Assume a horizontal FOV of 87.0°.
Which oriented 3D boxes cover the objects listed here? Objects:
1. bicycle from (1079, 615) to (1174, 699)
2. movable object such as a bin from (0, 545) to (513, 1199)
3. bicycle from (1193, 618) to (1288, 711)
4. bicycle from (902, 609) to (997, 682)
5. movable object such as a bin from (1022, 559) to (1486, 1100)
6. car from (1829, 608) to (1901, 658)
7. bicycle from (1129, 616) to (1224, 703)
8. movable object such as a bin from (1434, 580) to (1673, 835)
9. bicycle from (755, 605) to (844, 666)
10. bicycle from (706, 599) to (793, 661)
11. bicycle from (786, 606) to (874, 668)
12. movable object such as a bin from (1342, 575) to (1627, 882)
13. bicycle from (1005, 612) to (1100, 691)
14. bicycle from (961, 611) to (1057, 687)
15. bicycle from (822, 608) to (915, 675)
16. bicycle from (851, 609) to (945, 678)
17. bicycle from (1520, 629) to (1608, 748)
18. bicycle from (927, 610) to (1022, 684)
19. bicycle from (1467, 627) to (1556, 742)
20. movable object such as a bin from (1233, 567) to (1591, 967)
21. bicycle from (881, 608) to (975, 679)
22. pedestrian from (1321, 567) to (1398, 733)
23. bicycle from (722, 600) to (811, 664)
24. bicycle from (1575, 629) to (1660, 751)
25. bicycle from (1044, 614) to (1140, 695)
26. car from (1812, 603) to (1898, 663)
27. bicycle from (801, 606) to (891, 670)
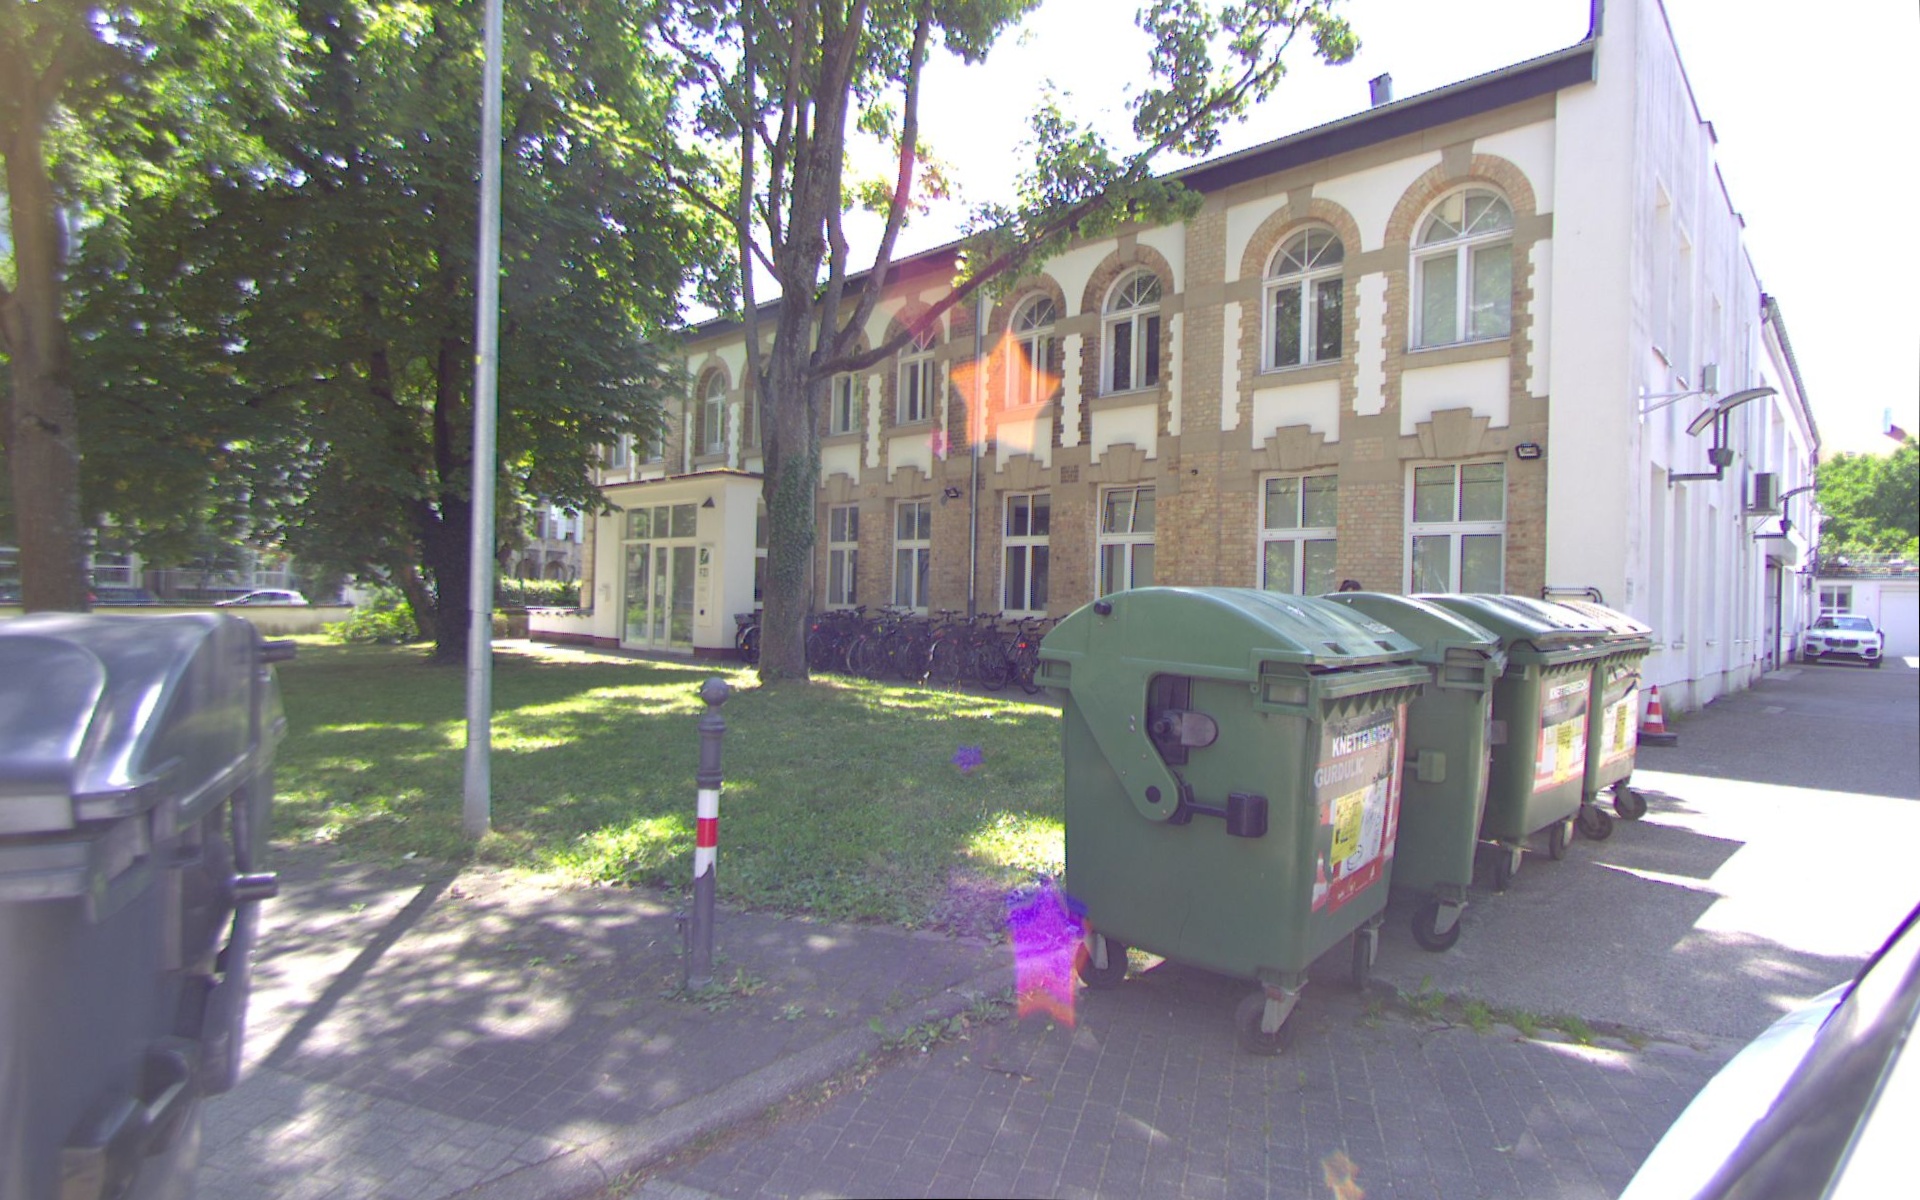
[{"bbox_3d":[2.411,0.779,14.509,0.405,1.115,1.797,1,0,43],"label":"bicycle"},{"bbox_3d":[-1.489,0.670,1.315,1.076,1.476,1.355,1,0,45],"label":"movable object such as a bin"},{"bbox_3d":[3.716,0.815,13.330,0.405,1.115,1.797,1,0,43],"label":"bicycle"},{"bbox_3d":[-0.141,0.712,16.502,0.405,1.115,1.797,1,0,43],"label":"bicycle"},{"bbox_3d":[1.080,0.617,3.629,1.076,1.476,1.355,1,0,45],"label":"movable object such as a bin"},{"bbox_3d":[36.330,1.254,40.592,2.006,1.825,4.652,1,1,43],"label":"car"},{"bbox_3d":[3.024,0.795,14.031,0.405,1.115,1.797,1,0,43],"label":"bicycle"},{"bbox_3d":[3.980,0.621,6.765,1.076,1.476,1.355,1,0,45],"label":"movable object such as a bin"},{"bbox_3d":[-3.043,0.655,19.335,0.405,1.115,1.797,1,0,43],"label":"bicycle"},{"bbox_3d":[-4.205,0.580,20.347,0.405,1.115,1.798,1,3,43],"label":"bicycle"},{"bbox_3d":[-2.435,0.668,19.117,0.405,1.115,1.797,1,0,43],"label":"bicycle"},{"bbox_3d":[2.993,0.615,5.743,1.076,1.476,1.355,1,0,45],"label":"movable object such as a bin"},{"bbox_3d":[1.424,0.753,15.332,0.405,1.115,1.797,1,0,43],"label":"bicycle"},{"bbox_3d":[0.785,0.737,15.765,0.405,1.115,1.797,1,0,43],"label":"bicycle"},{"bbox_3d":[-1.577,0.697,17.770,0.405,1.115,1.797,1,0,43],"label":"bicycle"},{"bbox_3d":[-1.029,0.713,17.241,0.405,1.115,1.797,1,0,43],"label":"bicycle"},{"bbox_3d":[6.403,0.890,10.687,0.405,1.115,1.797,1,0,43],"label":"bicycle"},{"bbox_3d":[0.258,0.723,16.145,0.405,1.115,1.797,1,0,43],"label":"bicycle"},{"bbox_3d":[6.056,0.880,11.072,0.405,1.115,1.797,1,0,43],"label":"bicycle"},{"bbox_3d":[2.079,0.610,4.610,1.076,1.476,1.355,1,0,45],"label":"movable object such as a bin"},{"bbox_3d":[-0.508,0.702,16.874,0.405,1.115,1.797,1,0,43],"label":"bicycle"},{"bbox_3d":[4.437,0.533,11.222,0.551,1.771,0.678,1,0,45],"label":"pedestrian"},{"bbox_3d":[-3.748,0.595,19.754,0.405,1.115,1.798,1,3,43],"label":"bicycle"},{"bbox_3d":[6.773,0.877,10.397,0.405,1.115,1.797,1,0,43],"label":"bicycle"},{"bbox_3d":[1.960,0.767,14.865,0.405,1.115,1.797,1,0,43],"label":"bicycle"},{"bbox_3d":[30.374,1.058,34.303,2.006,1.825,4.652,1,1,43],"label":"car"},{"bbox_3d":[-2.076,0.680,18.572,0.405,1.115,1.797,1,0,43],"label":"bicycle"}]
